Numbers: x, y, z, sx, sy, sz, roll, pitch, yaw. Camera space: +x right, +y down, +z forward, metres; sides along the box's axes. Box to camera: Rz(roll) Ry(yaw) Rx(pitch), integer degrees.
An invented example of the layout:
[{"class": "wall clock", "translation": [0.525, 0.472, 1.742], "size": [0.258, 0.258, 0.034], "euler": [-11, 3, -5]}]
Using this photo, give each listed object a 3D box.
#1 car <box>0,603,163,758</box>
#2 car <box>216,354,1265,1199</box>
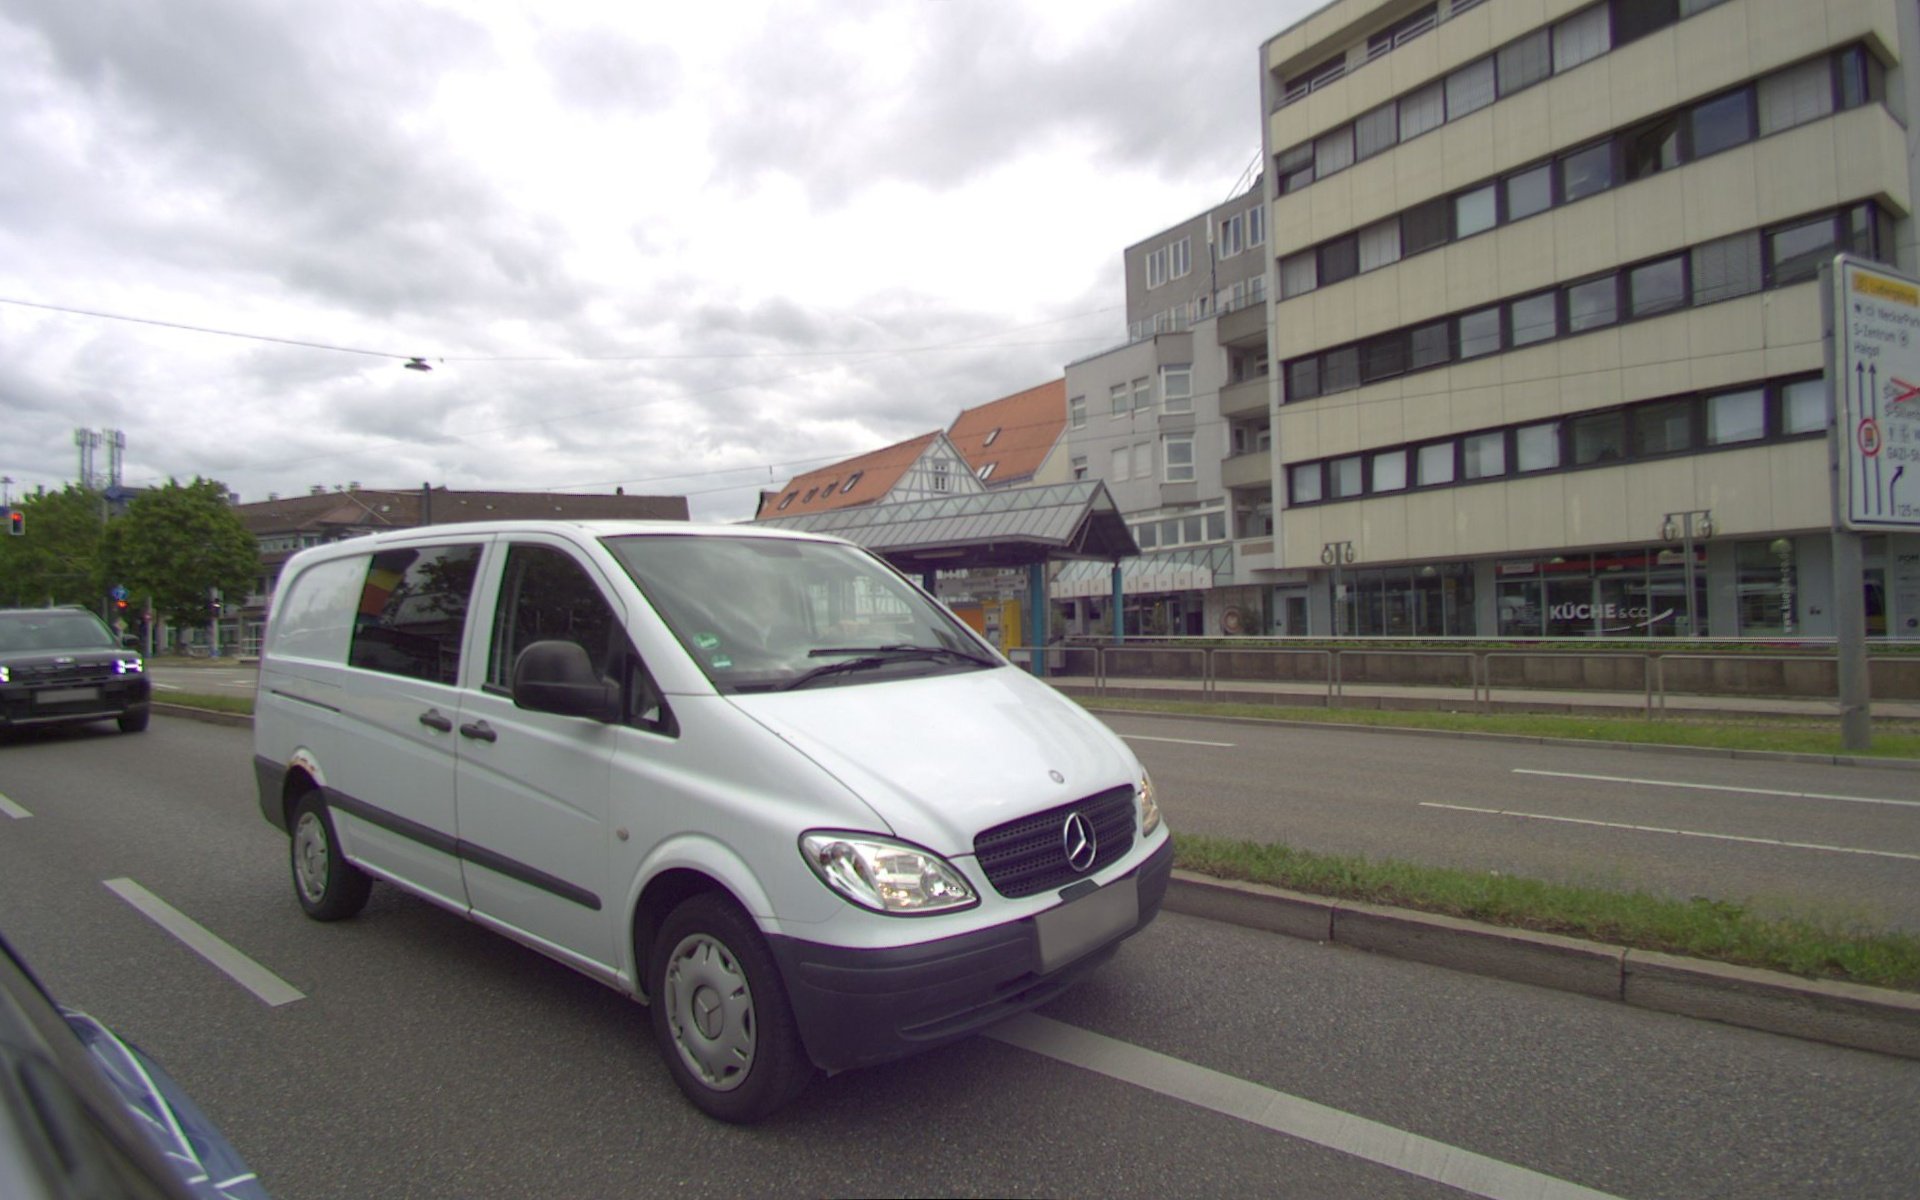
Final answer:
[{"class": "car", "translation": [-12.847, 1.042, 13.890], "size": [4.672, 1.764, 1.904], "euler": [-2, 1, 38]}, {"class": "car", "translation": [-1.456, 0.516, 4.601], "size": [5.070, 2.029, 1.855], "euler": [-2, 0, 39]}]
